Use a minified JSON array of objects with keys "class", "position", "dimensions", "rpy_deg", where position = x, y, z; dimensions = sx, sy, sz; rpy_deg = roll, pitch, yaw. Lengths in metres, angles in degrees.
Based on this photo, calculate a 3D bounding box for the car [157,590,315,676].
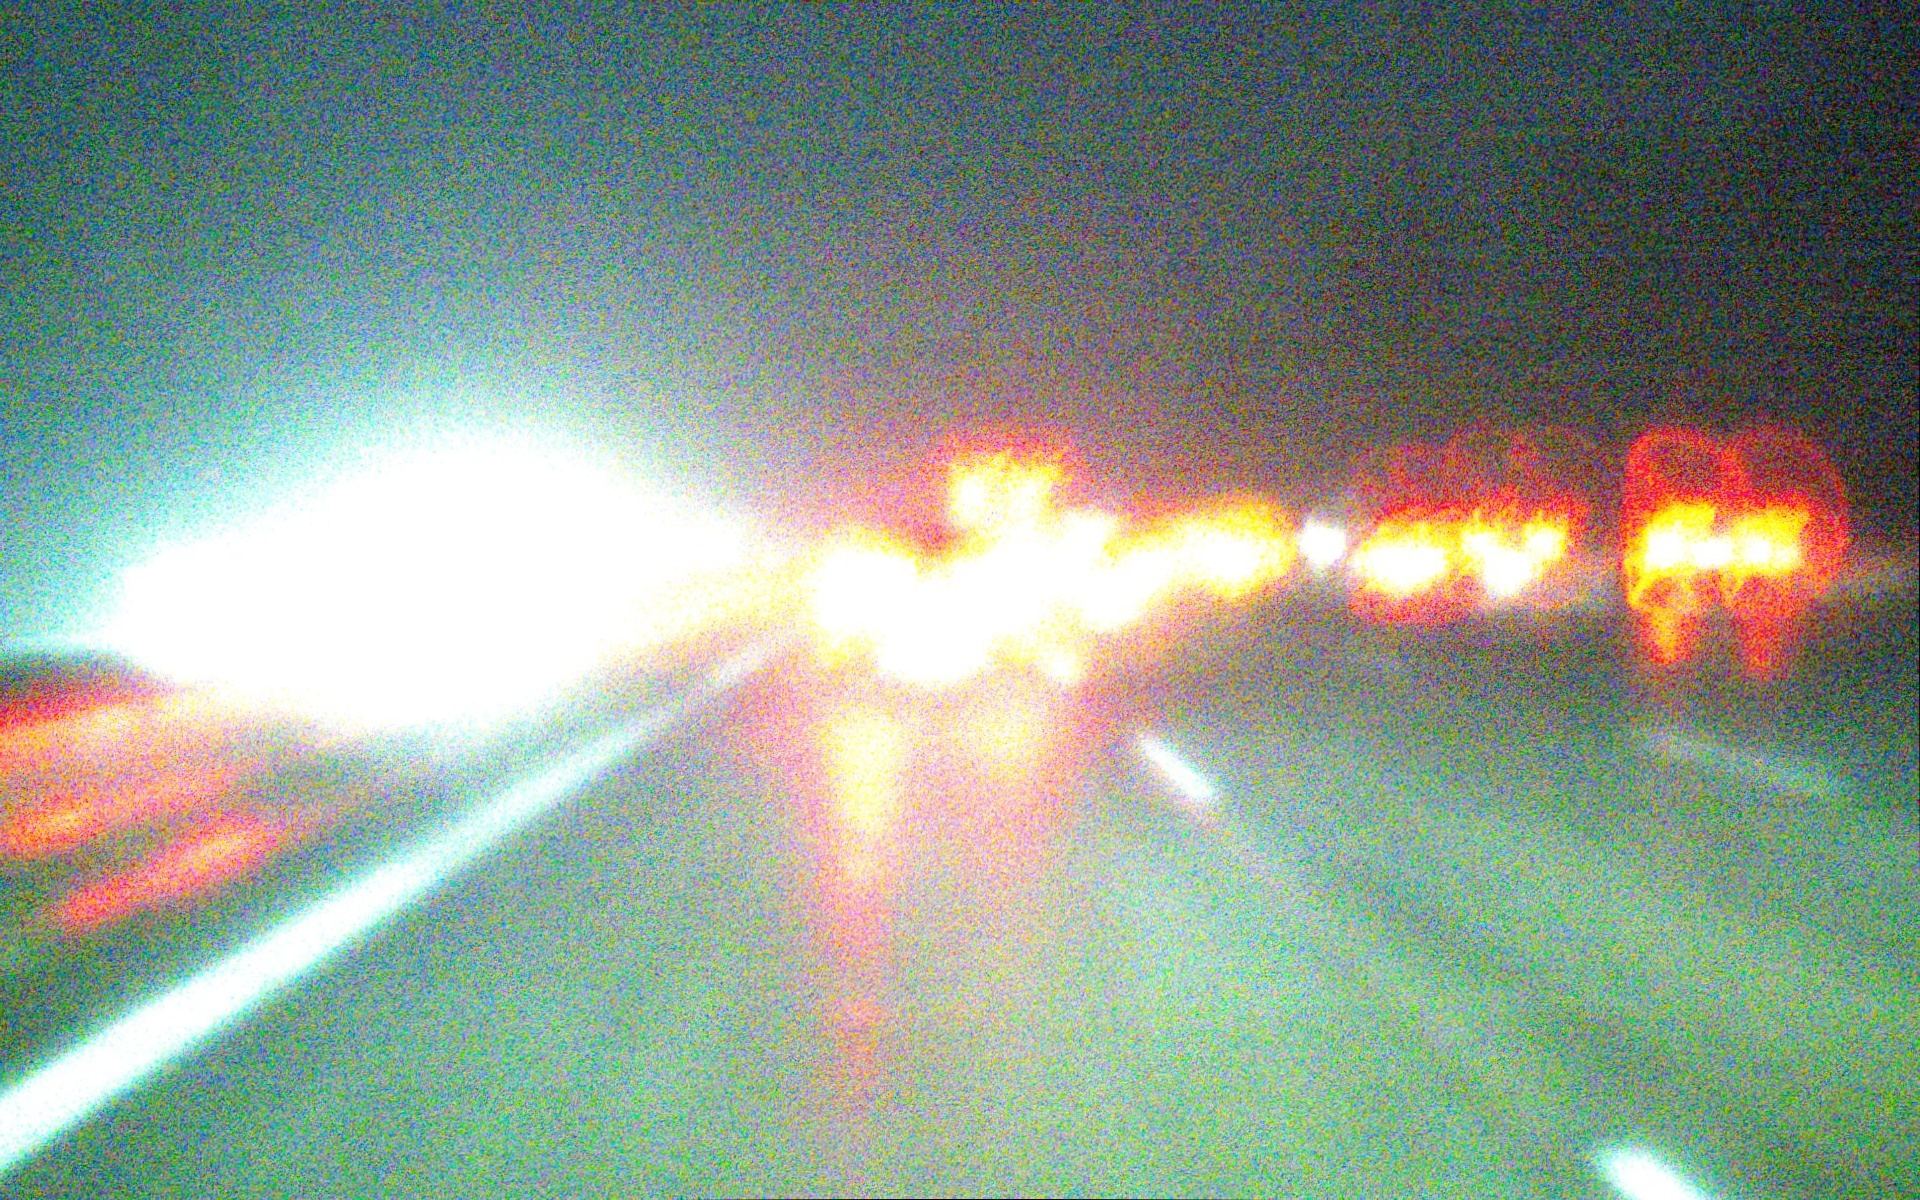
[{"class":"car","position":[-13.732,0.596,65.430],"dimensions":[1.993,1.520,4.670],"rpy_deg":[1,1,0]}]

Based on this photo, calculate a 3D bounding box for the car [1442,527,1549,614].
[{"class":"car","position":[12.801,-0.729,82.373],"dimensions":[2.233,2.007,4.000],"rpy_deg":[-1,1,5]}]

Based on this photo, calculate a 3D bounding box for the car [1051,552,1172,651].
[{"class":"car","position":[2.681,0.010,61.642],"dimensions":[1.800,1.612,4.257],"rpy_deg":[-3,1,-2]}]

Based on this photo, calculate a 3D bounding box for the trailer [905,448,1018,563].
[{"class":"trailer","position":[-0.051,-3.834,141.225],"dimensions":[2.738,4.233,13.374],"rpy_deg":[6,0,-7]}]

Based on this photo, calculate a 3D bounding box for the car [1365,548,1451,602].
[{"class":"car","position":[13.707,-0.785,105.393],"dimensions":[1.993,1.595,4.000],"rpy_deg":[1,1,-1]}]

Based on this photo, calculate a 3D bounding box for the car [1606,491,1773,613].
[{"class":"car","position":[12.608,-0.856,59.727],"dimensions":[2.063,2.007,5.448],"rpy_deg":[-1,1,4]}]

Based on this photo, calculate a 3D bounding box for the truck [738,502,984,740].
[{"class":"truck","position":[-1.008,0.148,33.596],"dimensions":[2.145,2.070,6.604],"rpy_deg":[1,1,-2]}]

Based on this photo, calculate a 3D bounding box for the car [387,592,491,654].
[{"class":"car","position":[-13.621,0.587,90.065],"dimensions":[1.993,1.520,4.670],"rpy_deg":[1,1,0]}]
